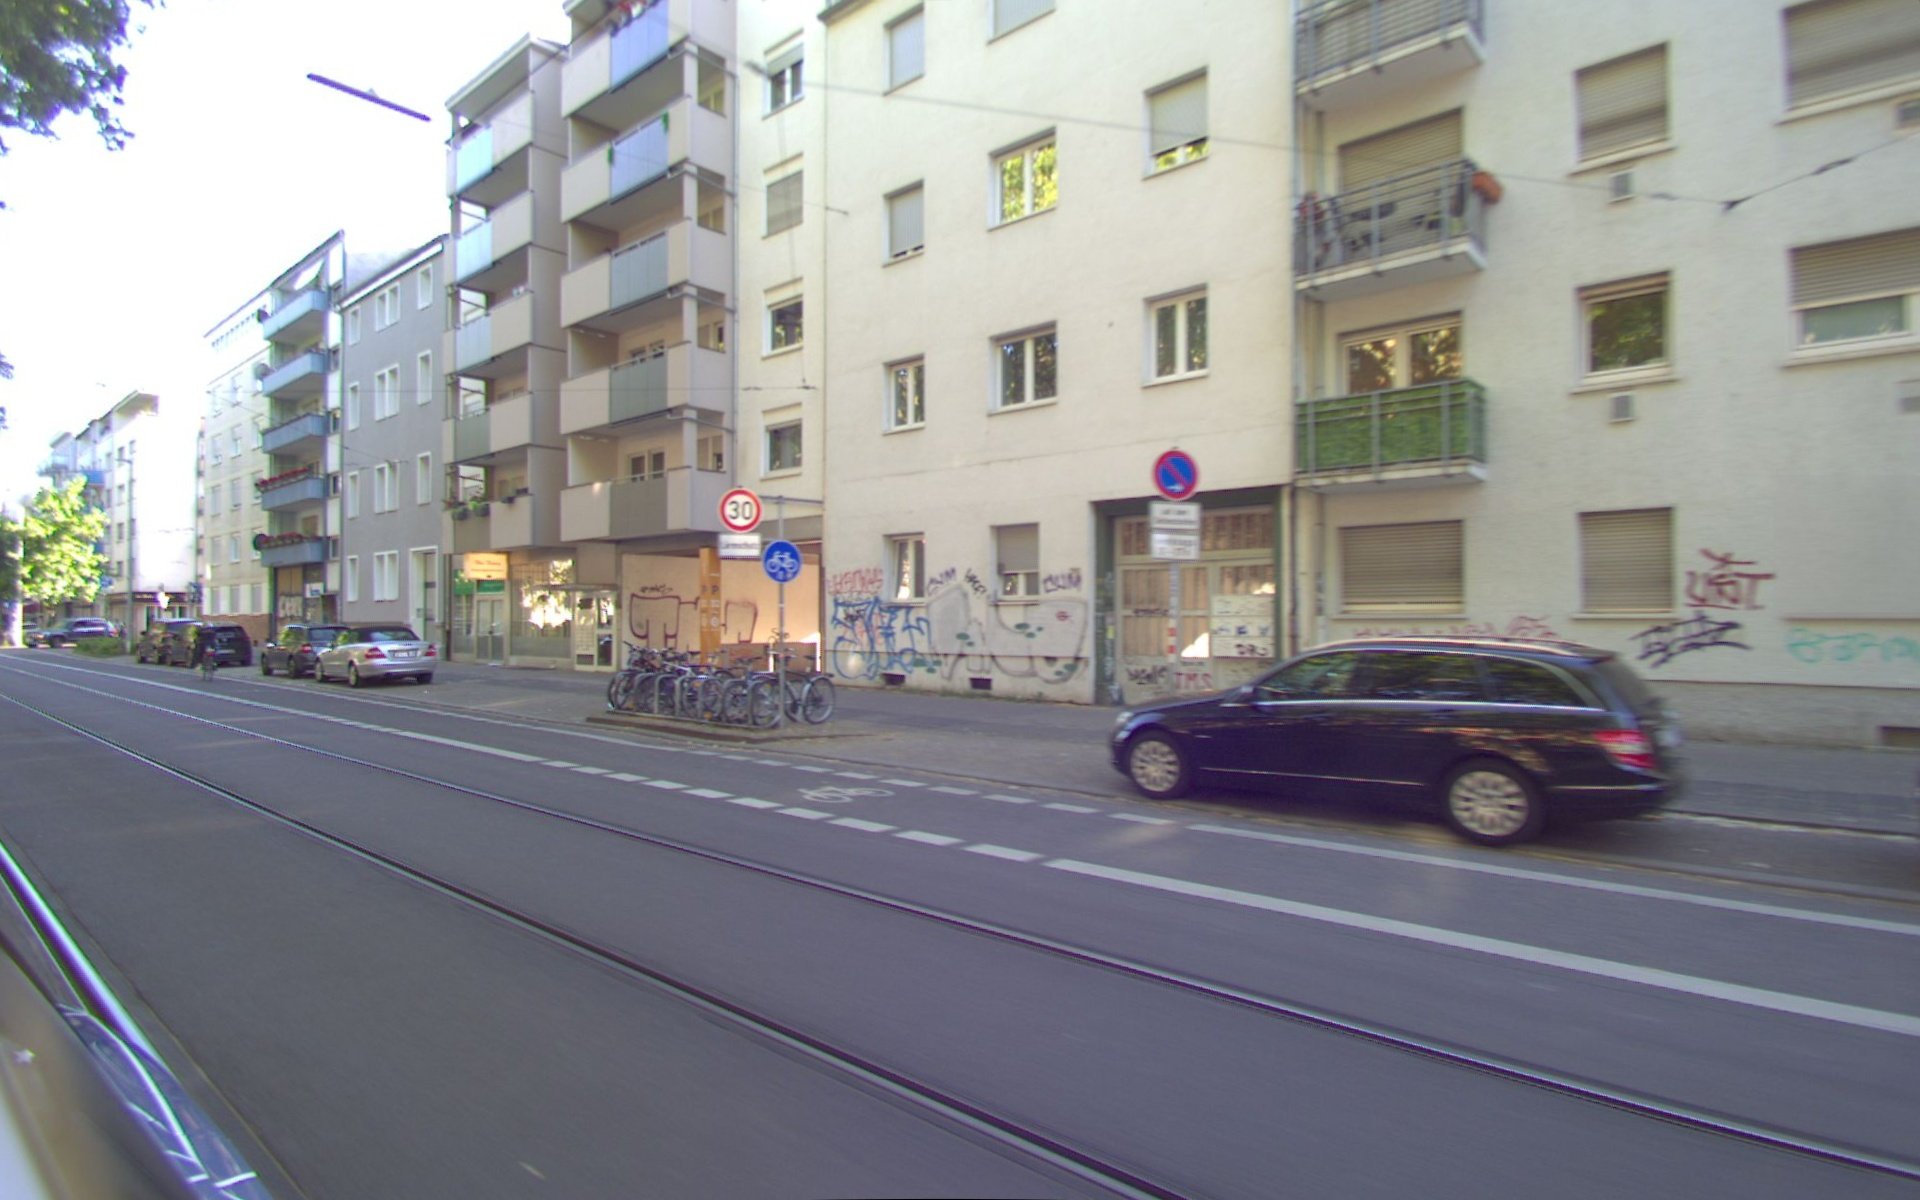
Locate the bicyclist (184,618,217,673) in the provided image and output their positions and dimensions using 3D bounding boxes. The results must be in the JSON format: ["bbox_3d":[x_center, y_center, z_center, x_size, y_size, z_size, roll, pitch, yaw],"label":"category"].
[{"bbox_3d":[-19.681,1.187,26.229,0.709,1.405,0.503,-1,-4,41],"label":"bicyclist"}]

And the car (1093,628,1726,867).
[{"bbox_3d":[3.478,0.977,8.516,4.572,1.467,1.699,-1,-2,43],"label":"car"}]

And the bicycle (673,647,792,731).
[{"bbox_3d":[-3.410,1.309,15.273,1.767,1.127,0.425,-1,0,-42],"label":"bicycle"}]

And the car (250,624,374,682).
[{"bbox_3d":[-18.212,1.437,28.388,4.238,1.502,1.775,-1,-2,41],"label":"car"}]

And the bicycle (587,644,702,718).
[{"bbox_3d":[-5.373,1.357,17.313,1.870,1.127,0.402,-1,0,-42],"label":"bicycle"}]

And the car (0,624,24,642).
[{"bbox_3d":[-87.121,2.975,91.299,1.587,1.535,3.899,-2,-2,45],"label":"car"}]

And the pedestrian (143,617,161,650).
[{"bbox_3d":[-47.911,1.989,60.006,0.762,1.913,0.800,-1,0,-41],"label":"pedestrian"}]

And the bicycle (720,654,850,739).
[{"bbox_3d":[-2.445,1.329,14.287,1.870,1.045,0.402,-1,0,-42],"label":"bicycle"}]

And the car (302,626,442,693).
[{"bbox_3d":[-14.653,1.392,25.094,4.727,1.502,1.671,-1,-2,42],"label":"car"}]

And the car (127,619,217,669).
[{"bbox_3d":[-30.106,1.632,38.607,4.485,1.752,1.762,-1,0,40],"label":"car"}]

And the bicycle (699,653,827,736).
[{"bbox_3d":[-2.833,1.339,14.705,1.870,1.045,0.402,-1,0,-42],"label":"bicycle"}]

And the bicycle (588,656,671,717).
[{"bbox_3d":[-5.767,1.493,17.752,0.400,0.924,1.609,-1,0,25],"label":"bicycle"}]

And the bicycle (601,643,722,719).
[{"bbox_3d":[-4.942,1.313,16.850,1.907,1.127,0.440,-1,0,-42],"label":"bicycle"}]

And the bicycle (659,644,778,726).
[{"bbox_3d":[-3.706,1.288,15.663,1.797,1.127,0.425,-1,0,-42],"label":"bicycle"}]

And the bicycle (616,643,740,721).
[{"bbox_3d":[-4.556,1.305,16.473,1.937,1.127,0.440,-1,0,-42],"label":"bicycle"}]

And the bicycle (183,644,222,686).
[{"bbox_3d":[-19.664,1.663,26.255,1.946,1.026,0.412,-1,-3,42],"label":"bicycle"}]

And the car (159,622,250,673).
[{"bbox_3d":[-26.380,1.609,35.290,4.199,1.612,1.639,-1,0,41],"label":"car"}]

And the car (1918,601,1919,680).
[{"bbox_3d":[7.549,0.784,4.715,4.344,1.644,1.701,-1,-2,40],"label":"car"}]

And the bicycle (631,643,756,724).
[{"bbox_3d":[-4.214,1.298,16.124,1.944,1.127,0.425,-1,0,-42],"label":"bicycle"}]
